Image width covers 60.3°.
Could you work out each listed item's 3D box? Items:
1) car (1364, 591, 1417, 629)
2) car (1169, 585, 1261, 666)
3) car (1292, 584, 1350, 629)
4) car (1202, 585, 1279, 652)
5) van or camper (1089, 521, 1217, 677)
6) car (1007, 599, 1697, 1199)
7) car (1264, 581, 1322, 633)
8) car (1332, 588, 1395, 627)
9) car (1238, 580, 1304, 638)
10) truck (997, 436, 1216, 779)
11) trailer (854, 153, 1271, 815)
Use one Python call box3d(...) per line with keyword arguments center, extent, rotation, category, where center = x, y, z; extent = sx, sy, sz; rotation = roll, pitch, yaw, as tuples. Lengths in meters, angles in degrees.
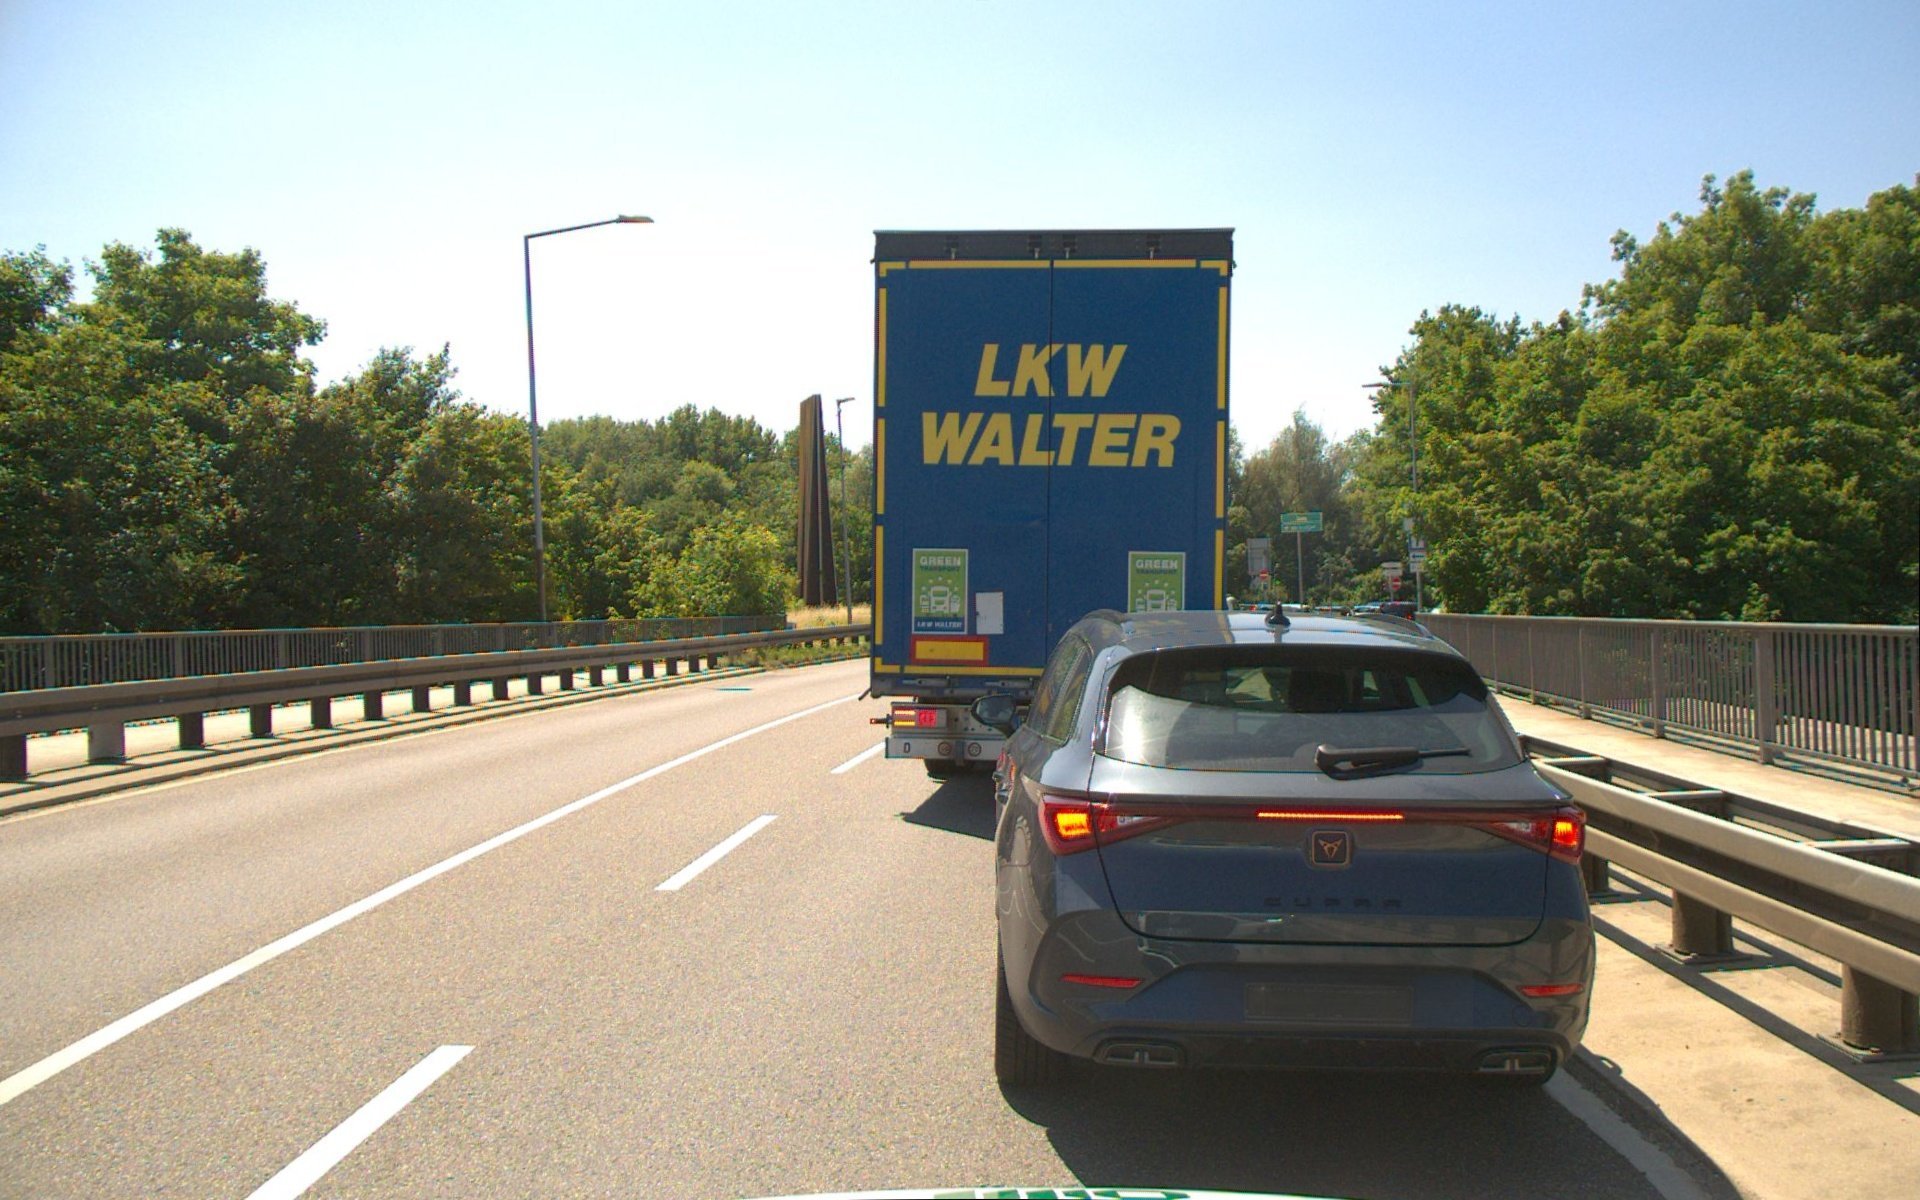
box3d(center=(21.015, 0.482, 80.652), extent=(1.653, 1.791, 3.995), rotation=(0, -1, 28), category="car")
box3d(center=(6.377, 0.583, 41.061), extent=(1.684, 1.876, 4.002), rotation=(0, 1, 17), category="car")
box3d(center=(14.951, 0.295, 68.350), extent=(1.651, 1.791, 3.999), rotation=(0, -1, 22), category="car")
box3d(center=(8.082, 0.482, 47.405), extent=(1.684, 1.834, 4.002), rotation=(0, 0, 17), category="car")
box3d(center=(4.041, -0.037, 33.652), extent=(2.108, 2.865, 6.393), rotation=(0, 0, 11), category="van or camper")
box3d(center=(0.992, 0.738, 5.943), extent=(1.642, 1.481, 3.959), rotation=(0, 0, 1), category="car")
box3d(center=(12.437, 0.223, 61.665), extent=(1.685, 1.876, 4.002), rotation=(0, 0, 18), category="car")
box3d(center=(18.225, 0.357, 74.639), extent=(1.954, 1.603, 3.996), rotation=(2, -1, 26), category="car")
box3d(center=(10.463, 0.266, 55.483), extent=(1.685, 1.876, 4.002), rotation=(0, 0, 18), category="car")
box3d(center=(2.320, 0.075, 25.059), extent=(2.843, 4.496, 6.560), rotation=(0, 0, 7), category="truck")
box3d(center=(1.424, -0.822, 17.569), extent=(2.843, 4.496, 12.442), rotation=(0, 0, 7), category="trailer")
